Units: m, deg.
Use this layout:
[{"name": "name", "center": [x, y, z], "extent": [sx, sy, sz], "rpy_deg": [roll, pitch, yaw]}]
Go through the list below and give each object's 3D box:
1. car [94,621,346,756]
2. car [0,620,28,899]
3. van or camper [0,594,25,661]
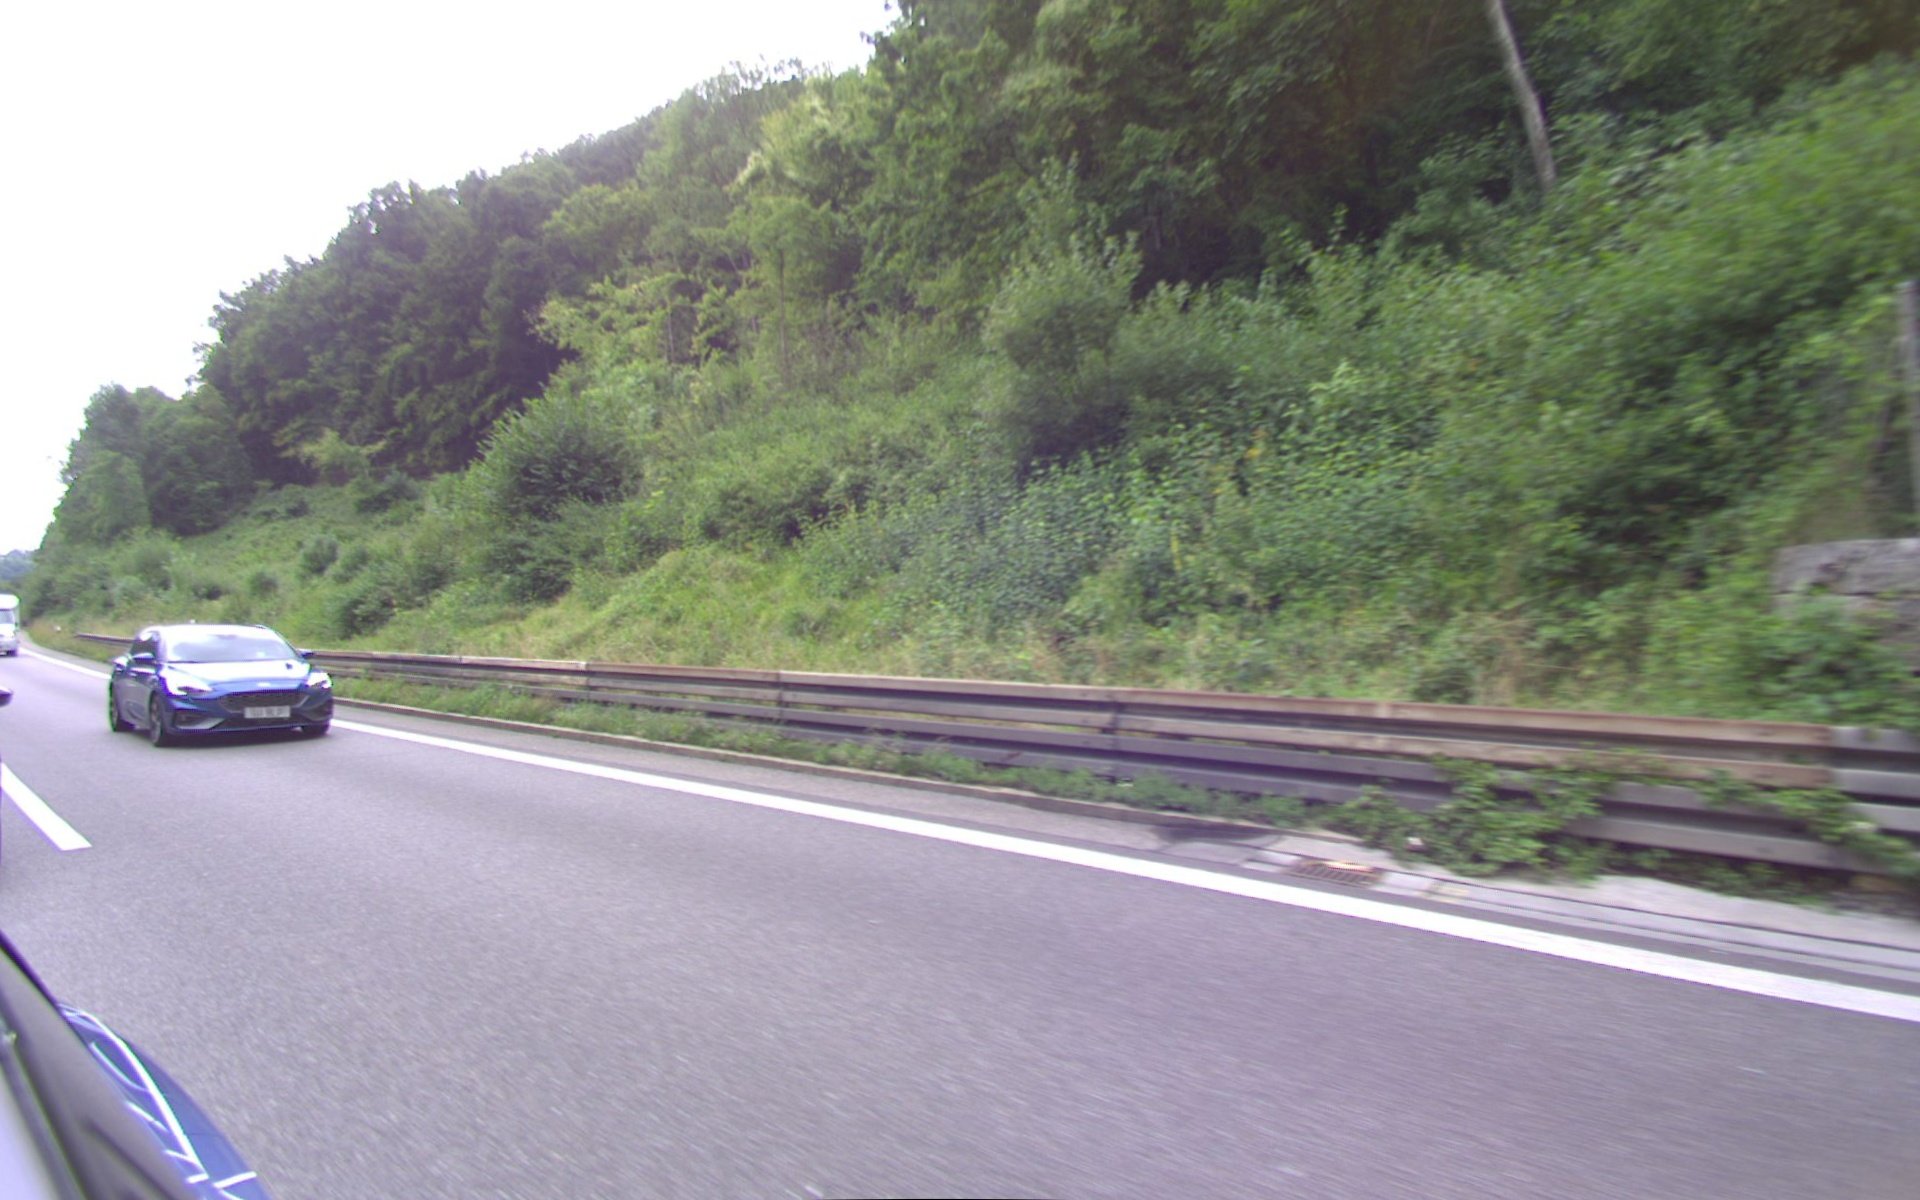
[{"name": "car", "center": [-9.835, 1.018, 13.303], "extent": [4.554, 1.480, 1.816], "rpy_deg": [-1, -2, 42]}, {"name": "car", "center": [-7.104, 0.865, 6.047], "extent": [4.398, 1.428, 1.728], "rpy_deg": [-2, -2, 40]}, {"name": "van or camper", "center": [-42.438, 1.221, 43.808], "extent": [7.022, 2.756, 2.241], "rpy_deg": [-2, -2, 42]}]
